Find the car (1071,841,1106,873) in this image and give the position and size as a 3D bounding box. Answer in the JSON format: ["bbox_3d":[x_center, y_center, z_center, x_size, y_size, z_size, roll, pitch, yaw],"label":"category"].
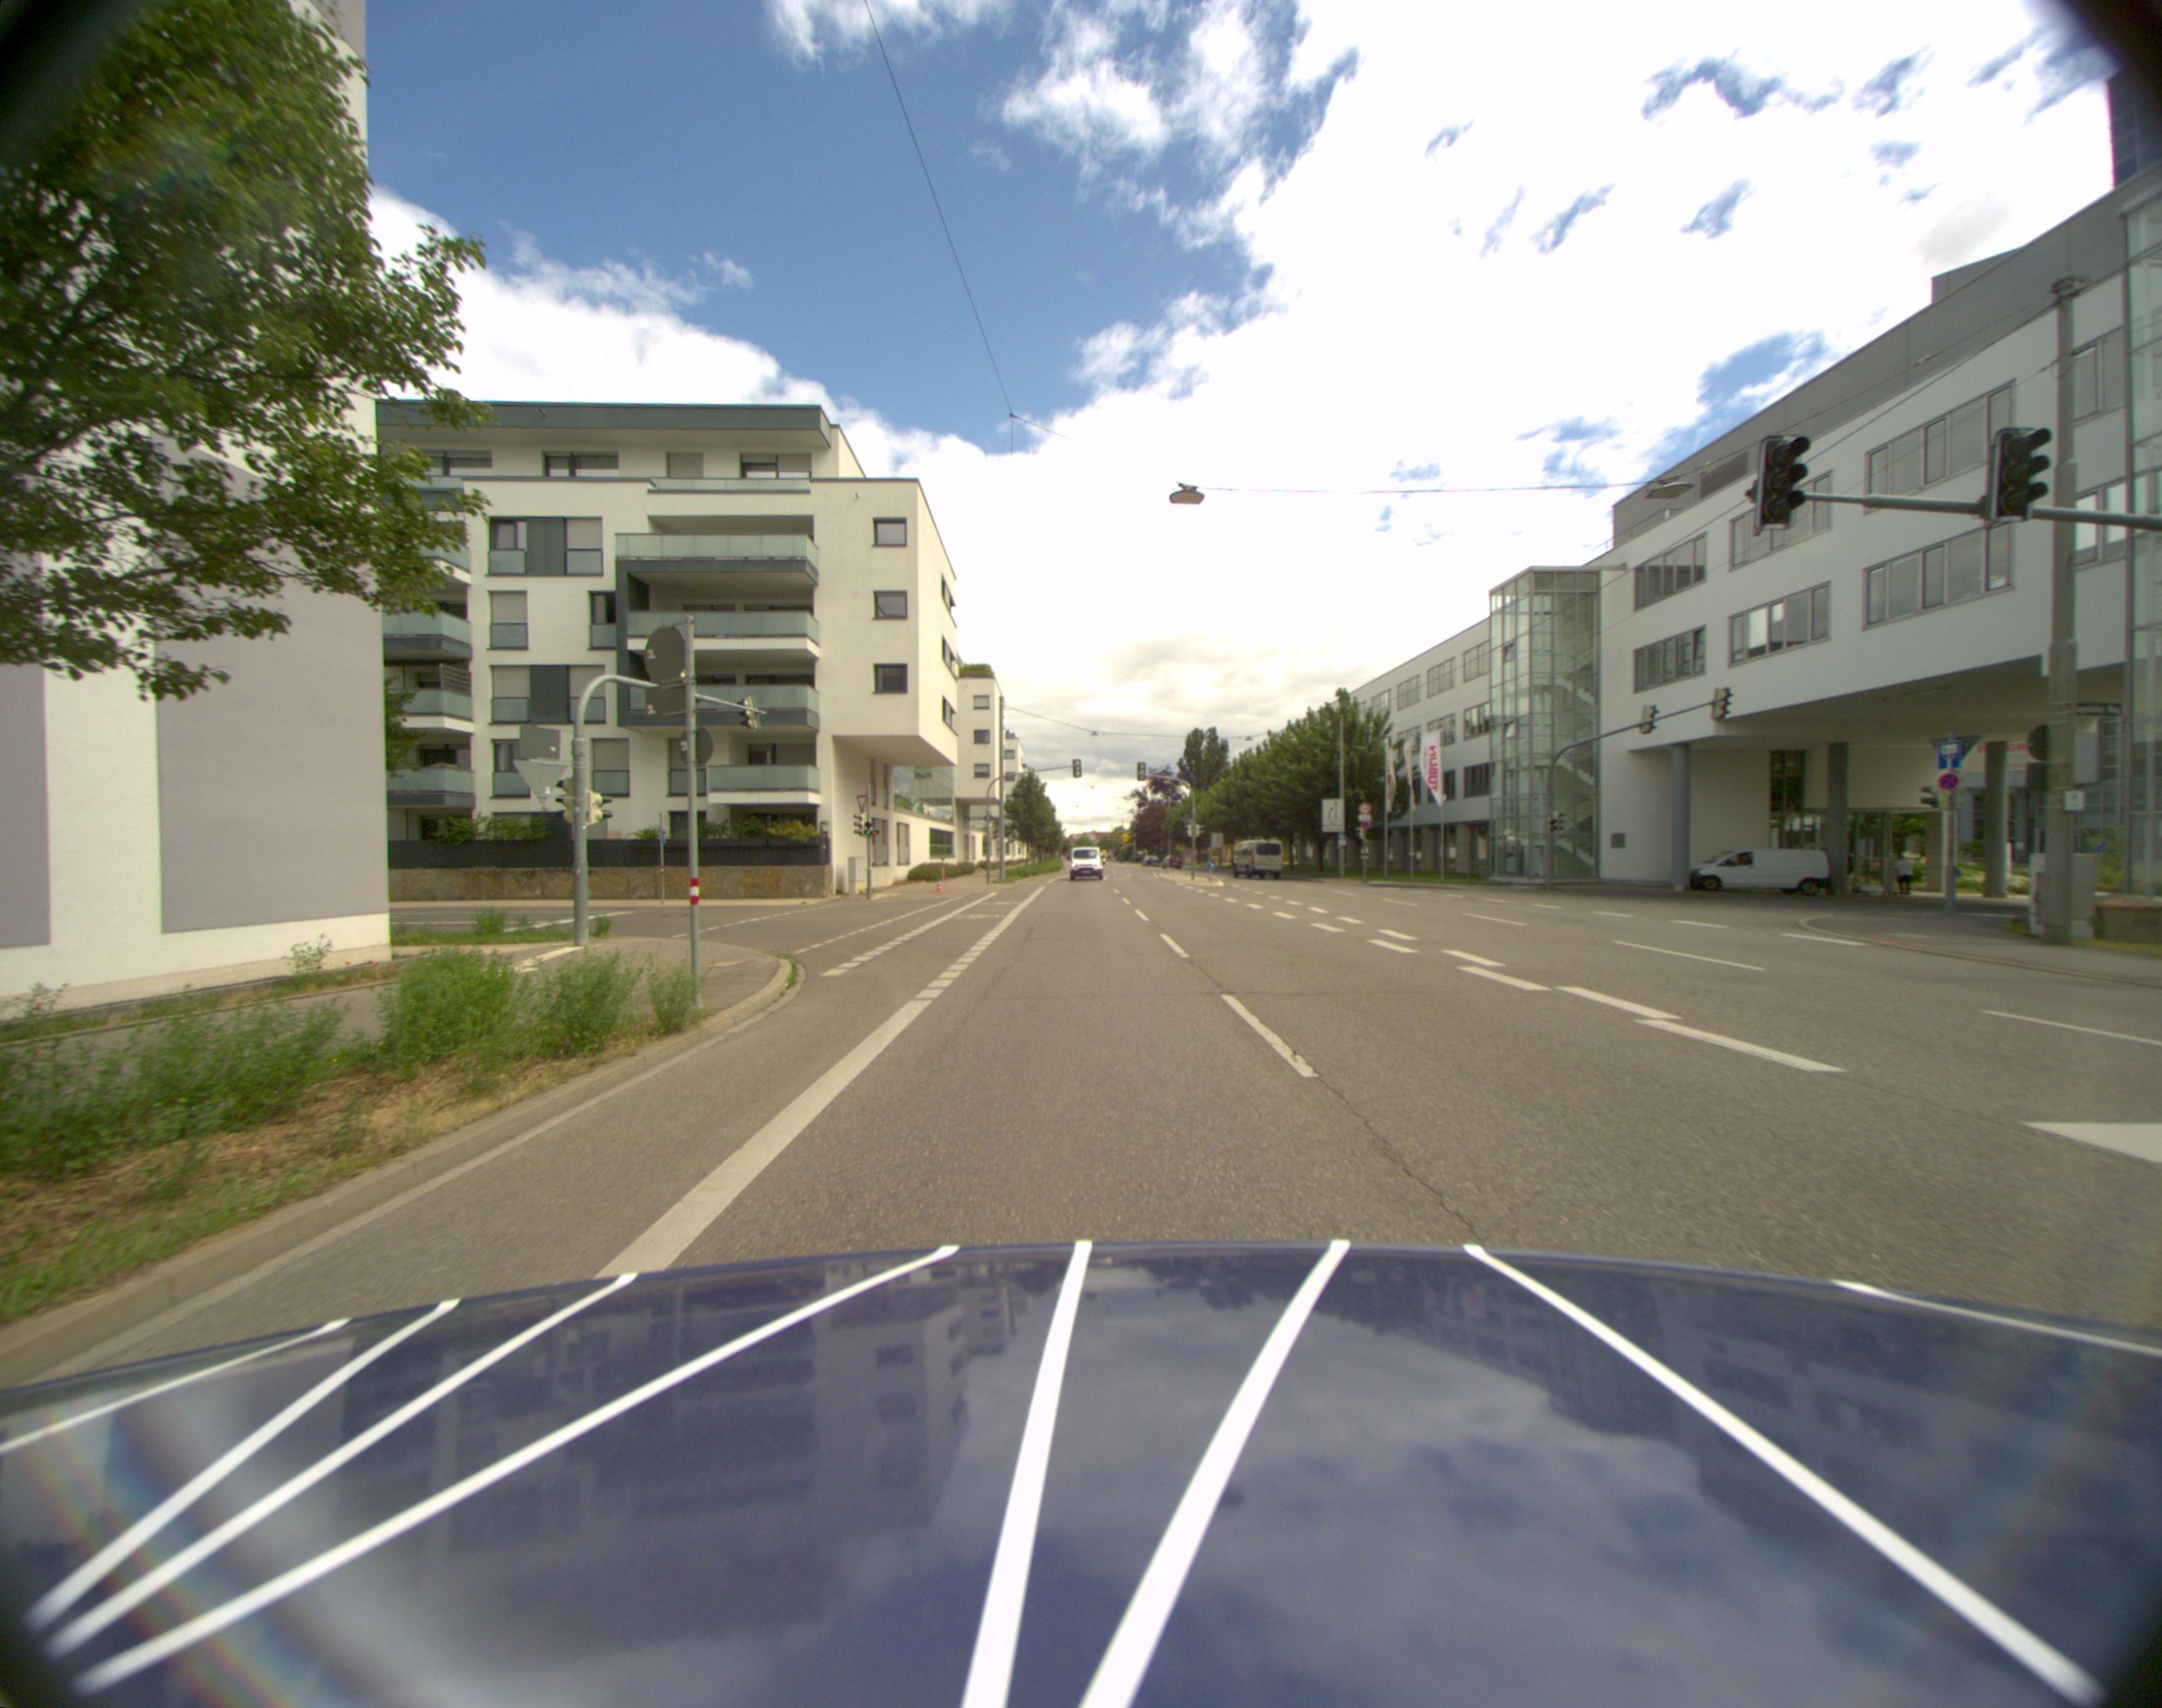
[{"bbox_3d":[0.442,0.148,48.442,1.999,1.906,3.998,-2,1,-2],"label":"car"}]

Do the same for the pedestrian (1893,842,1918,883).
[{"bbox_3d":[33.914,0.360,31.263,0.512,1.653,0.486,-3,2,-4],"label":"pedestrian"}]

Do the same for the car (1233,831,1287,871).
[{"bbox_3d":[11.515,-0.219,49.303,2.148,2.457,6.072,1,1,1],"label":"car"}]

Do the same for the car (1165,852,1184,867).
[{"bbox_3d":[10.677,0.569,86.917,1.889,1.543,4.539,1,2,3],"label":"car"}]

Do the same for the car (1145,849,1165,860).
[{"bbox_3d":[10.330,0.096,106.346,2.029,1.437,5.048,1,1,-2],"label":"car"}]

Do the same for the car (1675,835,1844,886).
[{"bbox_3d":[28.540,0.218,32.211,4.822,1.858,2.087,3,4,23],"label":"car"}]
